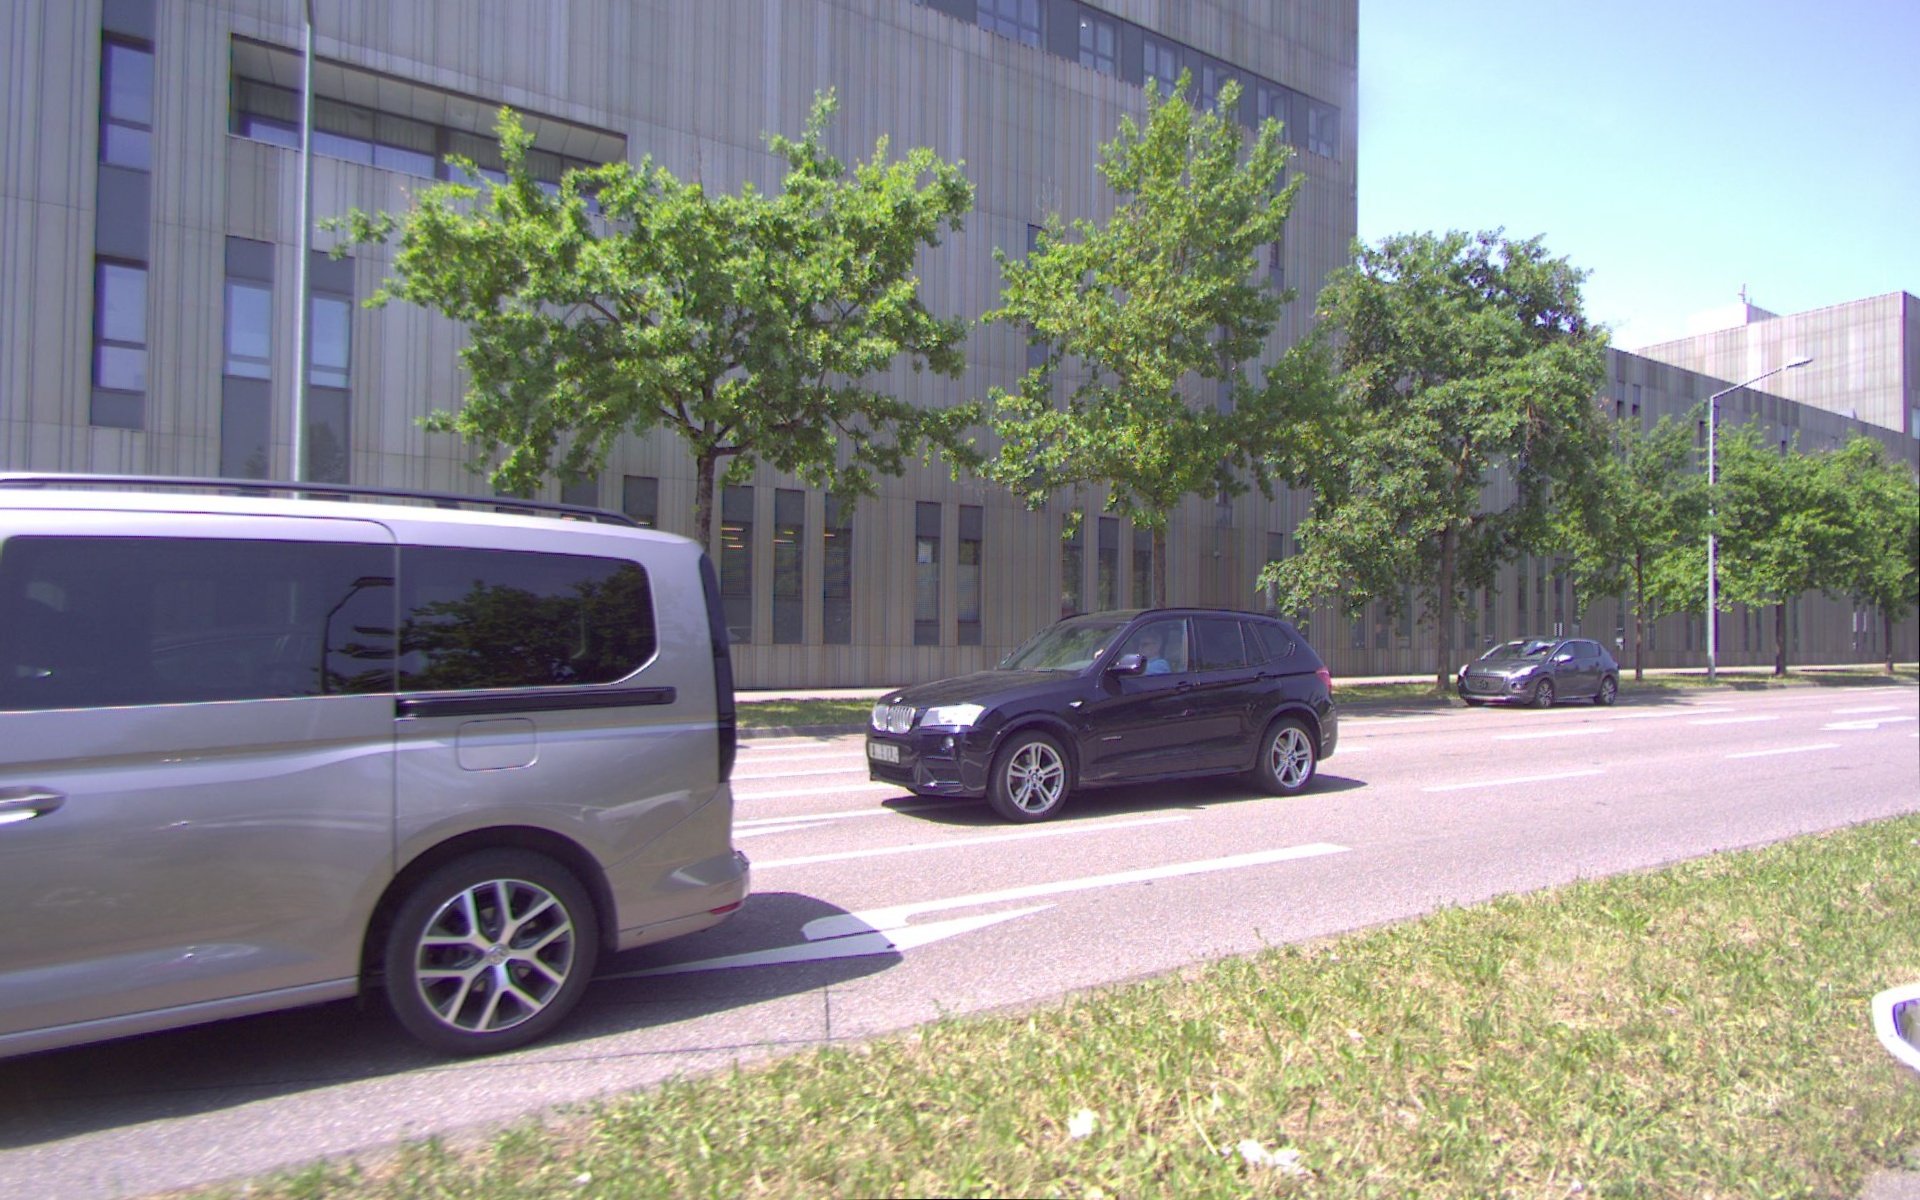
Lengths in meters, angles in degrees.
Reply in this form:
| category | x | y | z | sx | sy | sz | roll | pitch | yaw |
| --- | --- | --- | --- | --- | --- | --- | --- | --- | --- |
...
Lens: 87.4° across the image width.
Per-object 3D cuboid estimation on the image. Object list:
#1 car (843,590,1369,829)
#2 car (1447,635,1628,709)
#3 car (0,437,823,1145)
| category | x | y | z | sx | sy | sz | roll | pitch | yaw |
| --- | --- | --- | --- | --- | --- | --- | --- | --- | --- |
| car | 1.383 | 0.872 | 8.998 | 4.517 | 1.684 | 1.795 | 1 | -4 | -29 |
| car | 13.399 | 1.620 | 23.261 | 4.322 | 1.563 | 1.801 | 1 | -4 | -32 |
| car | -2.963 | 0.524 | 3.366 | 4.657 | 1.824 | 1.802 | 1 | -3 | -30 |
